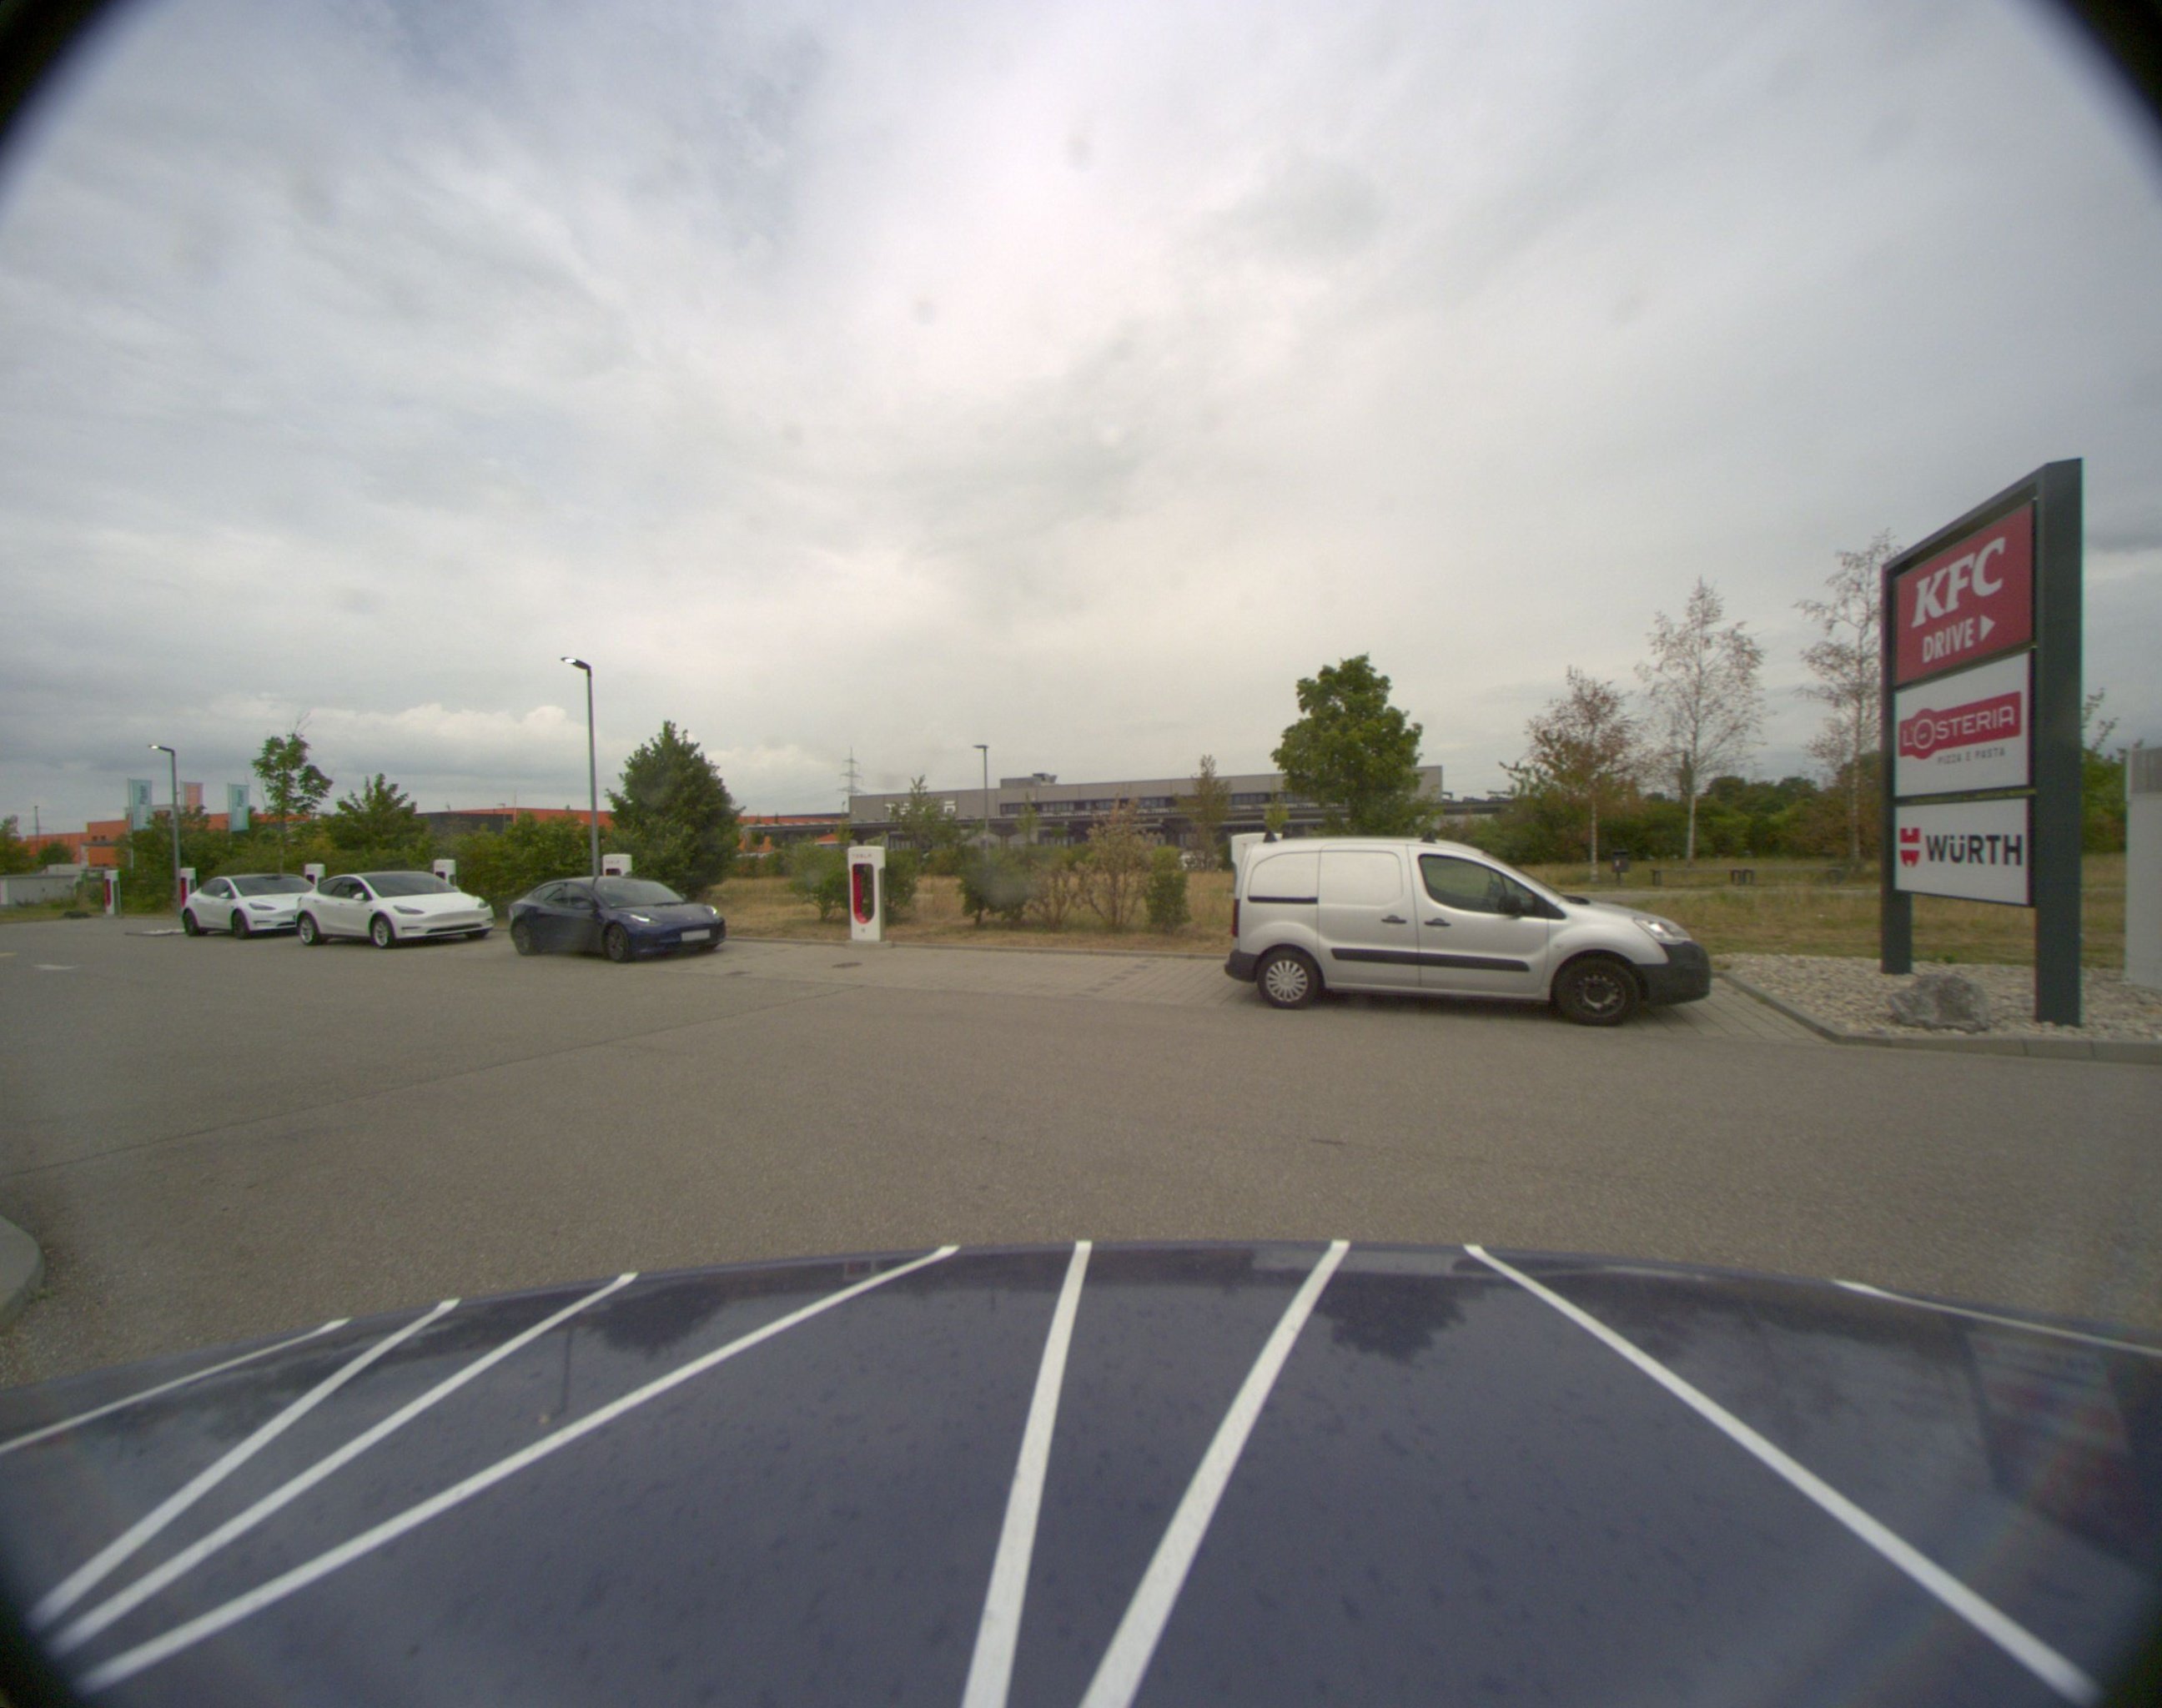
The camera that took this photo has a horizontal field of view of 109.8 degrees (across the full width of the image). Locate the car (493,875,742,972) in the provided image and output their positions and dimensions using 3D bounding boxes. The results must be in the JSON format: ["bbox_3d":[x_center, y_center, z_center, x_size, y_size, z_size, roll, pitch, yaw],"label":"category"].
[{"bbox_3d":[-8.621,1.176,14.089,4.445,1.451,1.837,-1,2,27],"label":"car"}]

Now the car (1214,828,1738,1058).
[{"bbox_3d":[3.779,0.752,7.968,4.326,1.877,1.950,-1,0,24],"label":"car"}]

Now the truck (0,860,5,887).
[{"bbox_3d":[-100.409,1.778,68.984,5.446,2.434,2.152,-1,0,25],"label":"truck"}]

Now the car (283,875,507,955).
[{"bbox_3d":[-15.629,1.308,17.333,4.467,1.544,2.076,-1,1,23],"label":"car"}]

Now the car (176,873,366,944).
[{"bbox_3d":[-21.902,1.378,20.522,4.932,1.593,2.076,0,1,26],"label":"car"}]
